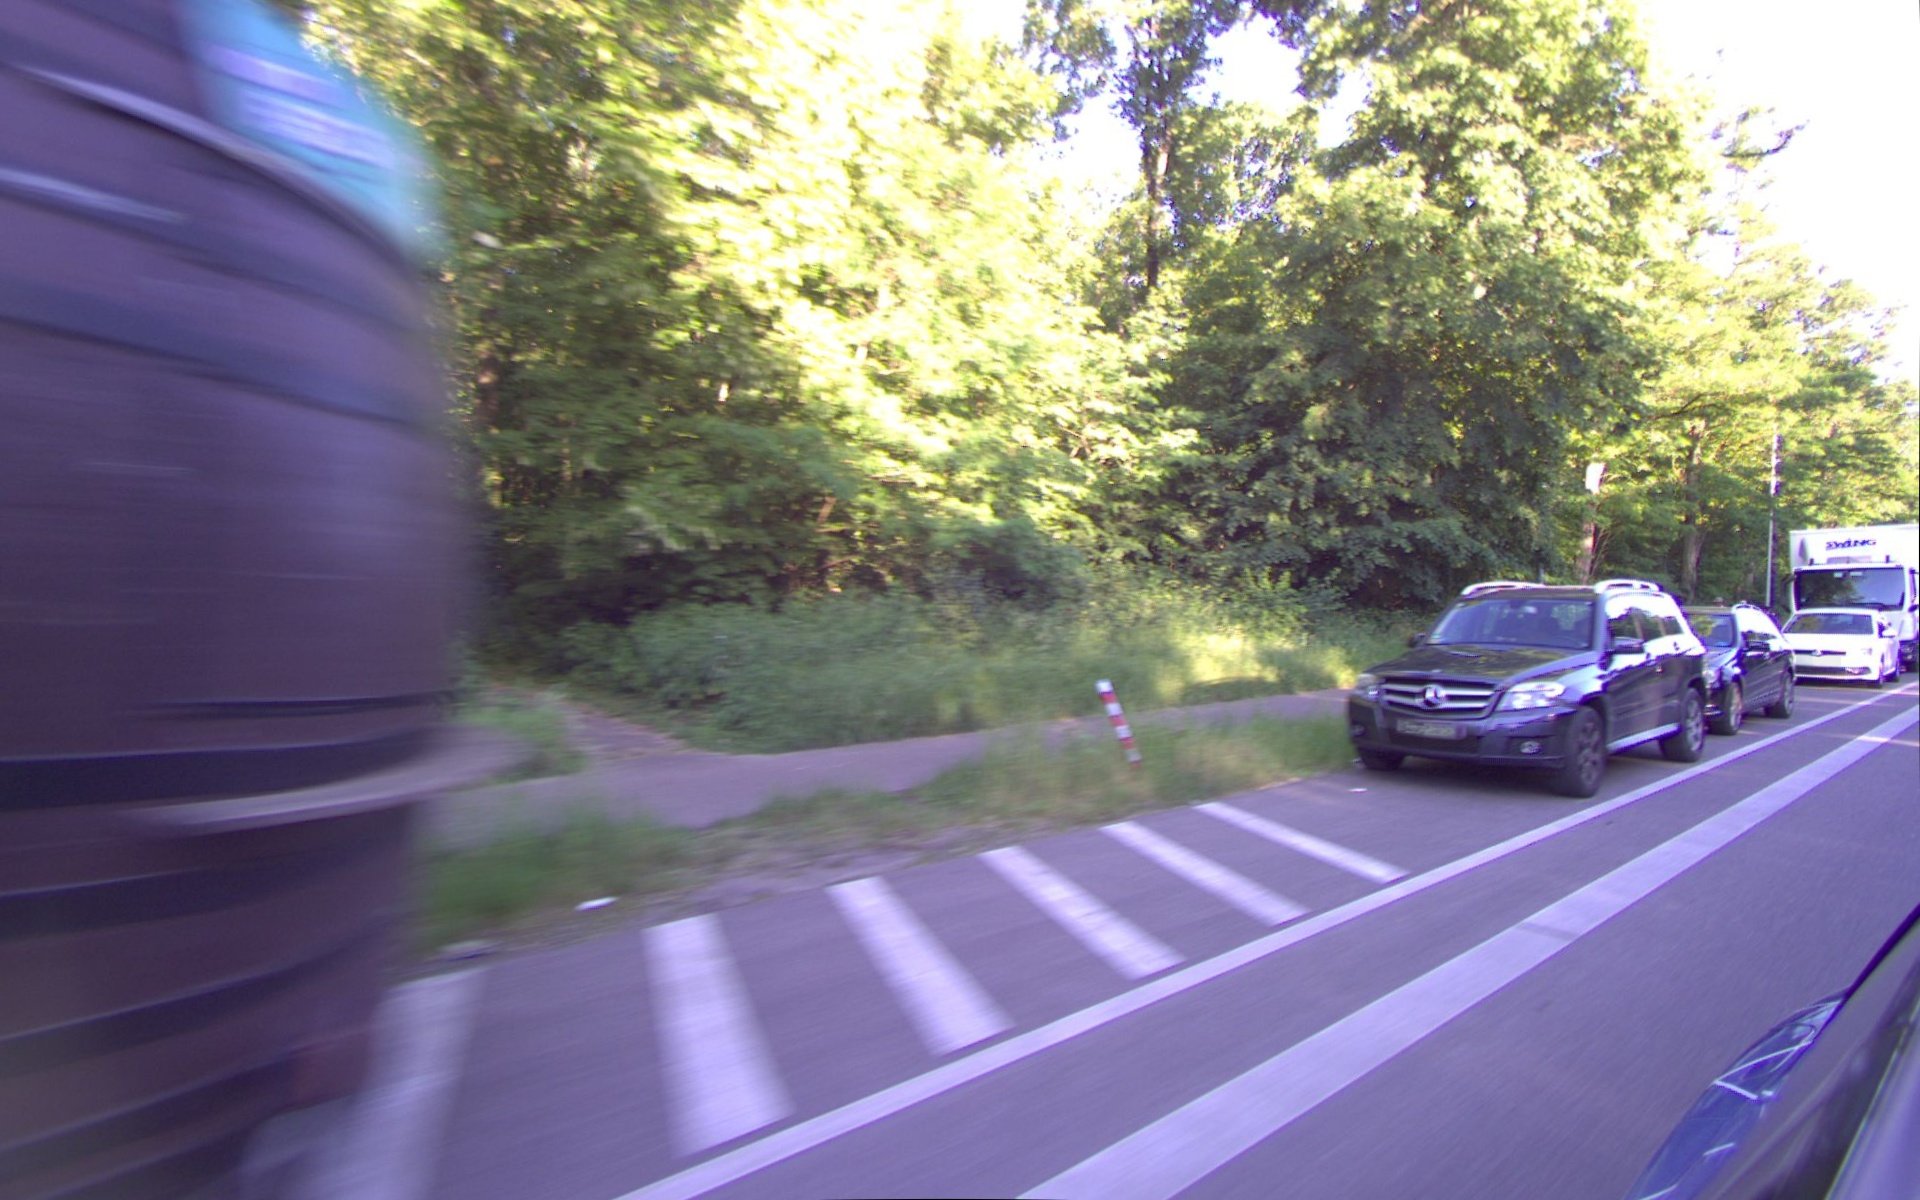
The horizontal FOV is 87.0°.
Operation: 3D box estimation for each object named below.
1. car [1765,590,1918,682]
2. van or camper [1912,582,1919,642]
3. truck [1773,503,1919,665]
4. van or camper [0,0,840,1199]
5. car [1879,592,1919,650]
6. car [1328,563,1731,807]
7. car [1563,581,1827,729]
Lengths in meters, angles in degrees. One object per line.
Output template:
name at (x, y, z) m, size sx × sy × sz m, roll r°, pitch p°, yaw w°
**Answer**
car at (17.052, 0.622, 19.518) m, size 3.930 × 1.588 × 1.714 m, roll 0°, pitch 0°, yaw -41°
van or camper at (34.736, 0.443, 35.145) m, size 4.506 × 2.038 × 1.901 m, roll 0°, pitch 2°, yaw -41°
truck at (23.415, -0.397, 25.771) m, size 8.431 × 3.541 × 2.837 m, roll 0°, pitch 2°, yaw -42°
van or camper at (-3.370, 0.004, 1.076) m, size 2.439 × 2.835 × 6.457 m, roll 1°, pitch 1°, yaw 42°
car at (29.865, 0.650, 30.949) m, size 3.953 × 1.677 × 1.805 m, roll 0°, pitch 2°, yaw -36°
car at (5.282, 0.590, 9.114) m, size 4.470 × 1.686 × 1.715 m, roll 0°, pitch 0°, yaw -40°
car at (9.515, 0.594, 12.956) m, size 4.470 × 1.588 × 1.715 m, roll 0°, pitch 0°, yaw -40°
